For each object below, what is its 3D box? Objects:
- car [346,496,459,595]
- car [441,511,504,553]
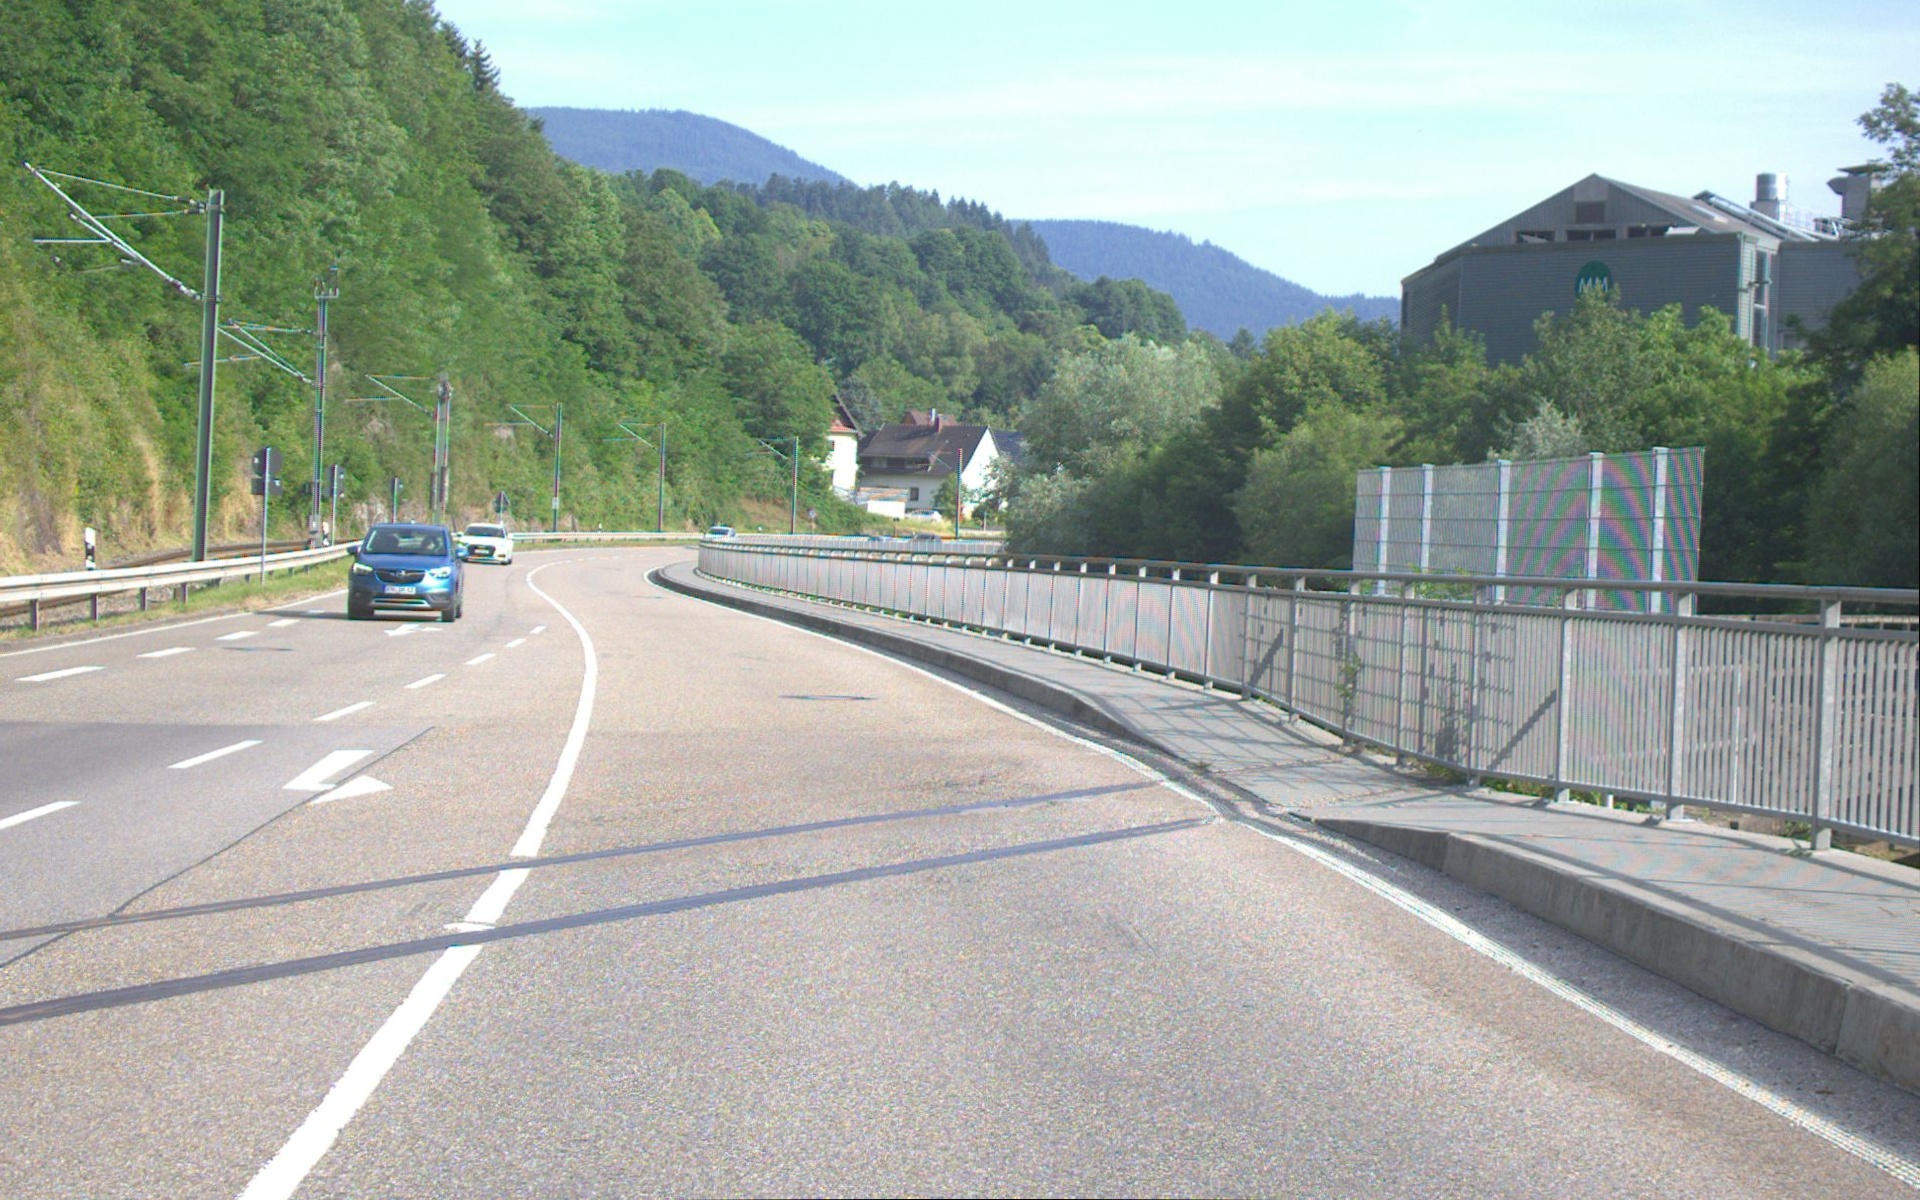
[{"bbox_3d":[-9.185,-0.924,56.891,1.718,1.565,4.136,0,1,-7],"label":"car"},{"bbox_3d":[-17.902,-2.505,126.302,2.063,1.434,4.687,2,1,-6],"label":"car"}]
